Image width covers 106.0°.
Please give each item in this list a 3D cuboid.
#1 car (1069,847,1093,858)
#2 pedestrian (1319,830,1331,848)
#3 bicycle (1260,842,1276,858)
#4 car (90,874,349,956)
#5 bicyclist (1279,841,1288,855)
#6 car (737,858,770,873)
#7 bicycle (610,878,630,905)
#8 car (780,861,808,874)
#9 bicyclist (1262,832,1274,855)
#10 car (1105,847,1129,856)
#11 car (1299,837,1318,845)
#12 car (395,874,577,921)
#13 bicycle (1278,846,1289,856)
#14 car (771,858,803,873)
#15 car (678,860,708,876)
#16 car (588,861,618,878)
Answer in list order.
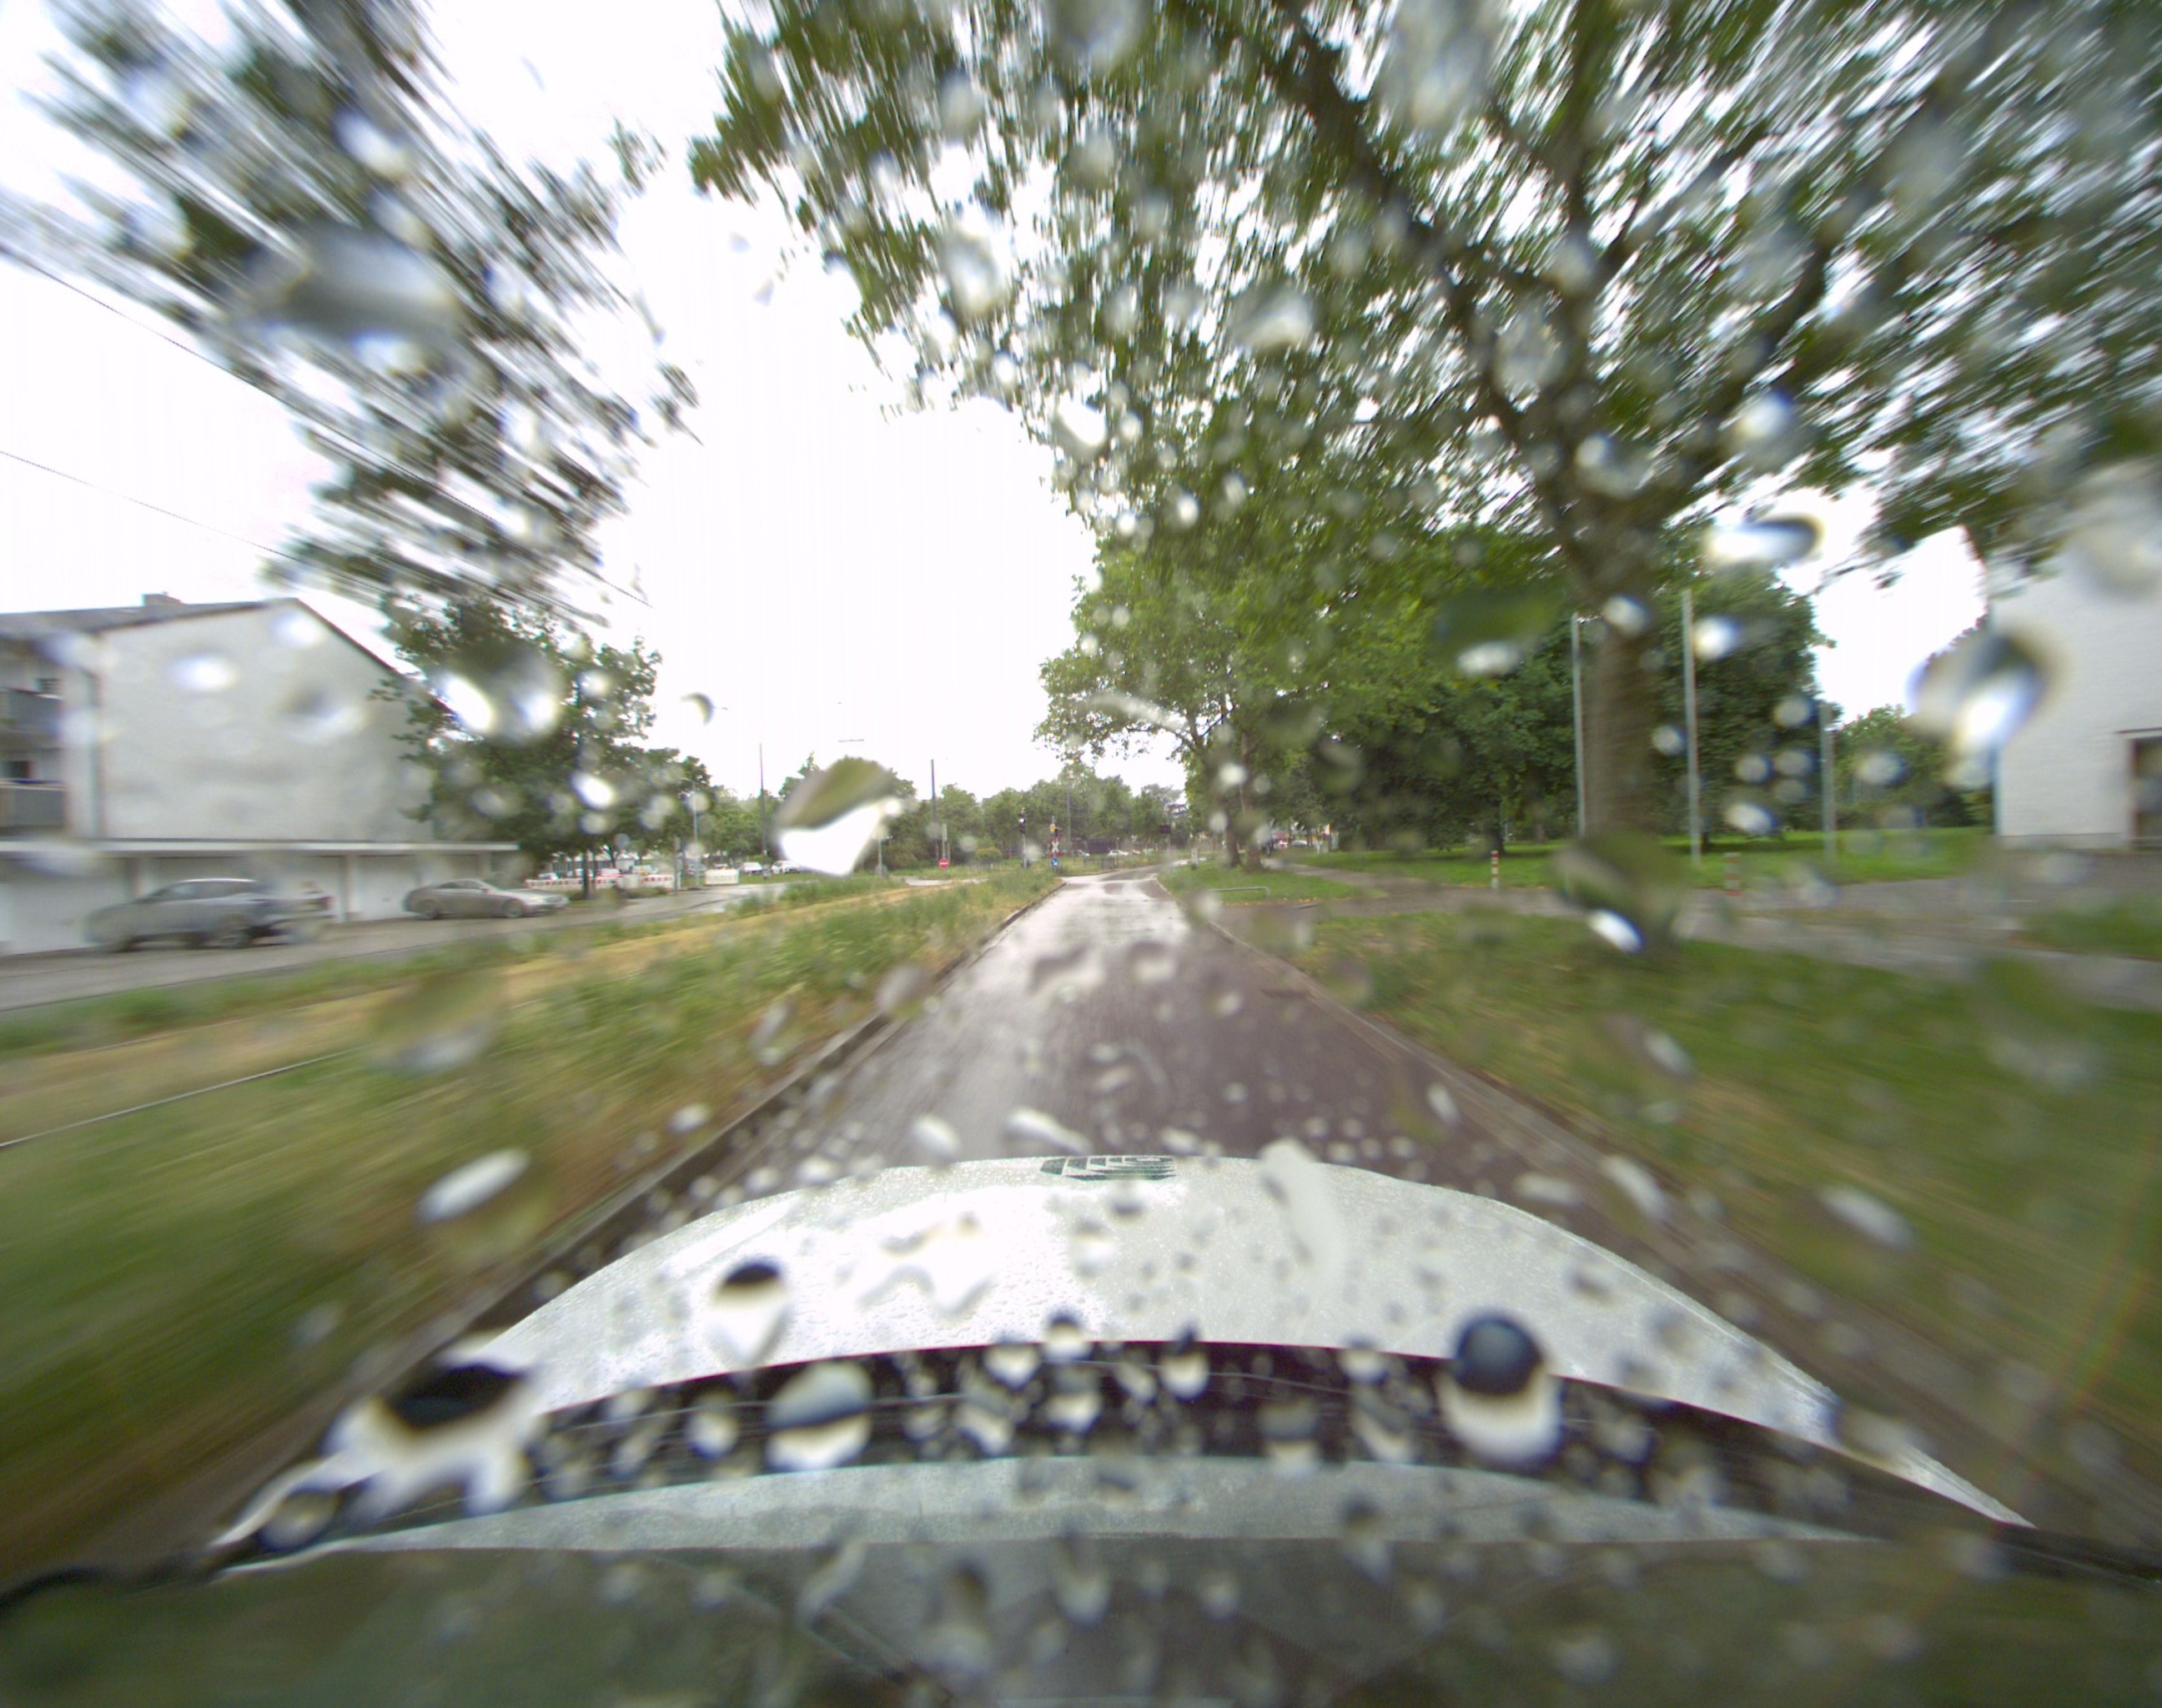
[{"bbox_3d":[0.067,-0.282,157.404,4.174,1.796,1.661,-2,1,20],"label":"car"},{"bbox_3d":[24.104,-1.463,80.437,0.847,1.694,1.037,-3,0,8],"label":"pedestrian"},{"bbox_3d":[14.720,-0.348,64.016,0.705,1.142,1.984,-2,1,26],"label":"bicycle"},{"bbox_3d":[-20.050,1.378,19.096,3.974,1.576,1.893,-3,0,0],"label":"car"},{"bbox_3d":[15.784,-0.500,63.441,0.482,1.038,0.595,-3,1,25],"label":"bicyclist"},{"bbox_3d":[-29.838,1.033,74.203,1.674,1.249,3.698,-3,0,-40],"label":"car"},{"bbox_3d":[-18.746,1.506,33.107,0.482,1.019,1.828,1,0,-23],"label":"bicycle"},{"bbox_3d":[-31.185,1.459,88.477,1.674,1.249,3.698,-3,0,-40],"label":"car"},{"bbox_3d":[14.695,-0.851,64.018,0.705,1.721,0.963,-2,1,26],"label":"bicyclist"},{"bbox_3d":[6.865,-0.426,154.955,4.032,1.499,1.660,-3,0,18],"label":"car"},{"bbox_3d":[51.929,-2.971,186.197,3.713,1.442,1.774,-3,0,33],"label":"car"},{"bbox_3d":[-19.824,1.427,27.245,4.707,1.365,1.849,-1,0,2],"label":"car"},{"bbox_3d":[15.795,-0.216,63.485,0.482,0.708,1.466,-3,1,25],"label":"bicycle"},{"bbox_3d":[-27.647,1.053,76.569,1.674,1.249,3.698,-3,0,-40],"label":"car"},{"bbox_3d":[-34.340,1.274,72.070,1.673,1.249,3.700,-3,0,-37],"label":"car"},{"bbox_3d":[-39.489,1.275,67.282,1.673,1.249,3.700,-3,0,-37],"label":"car"}]
